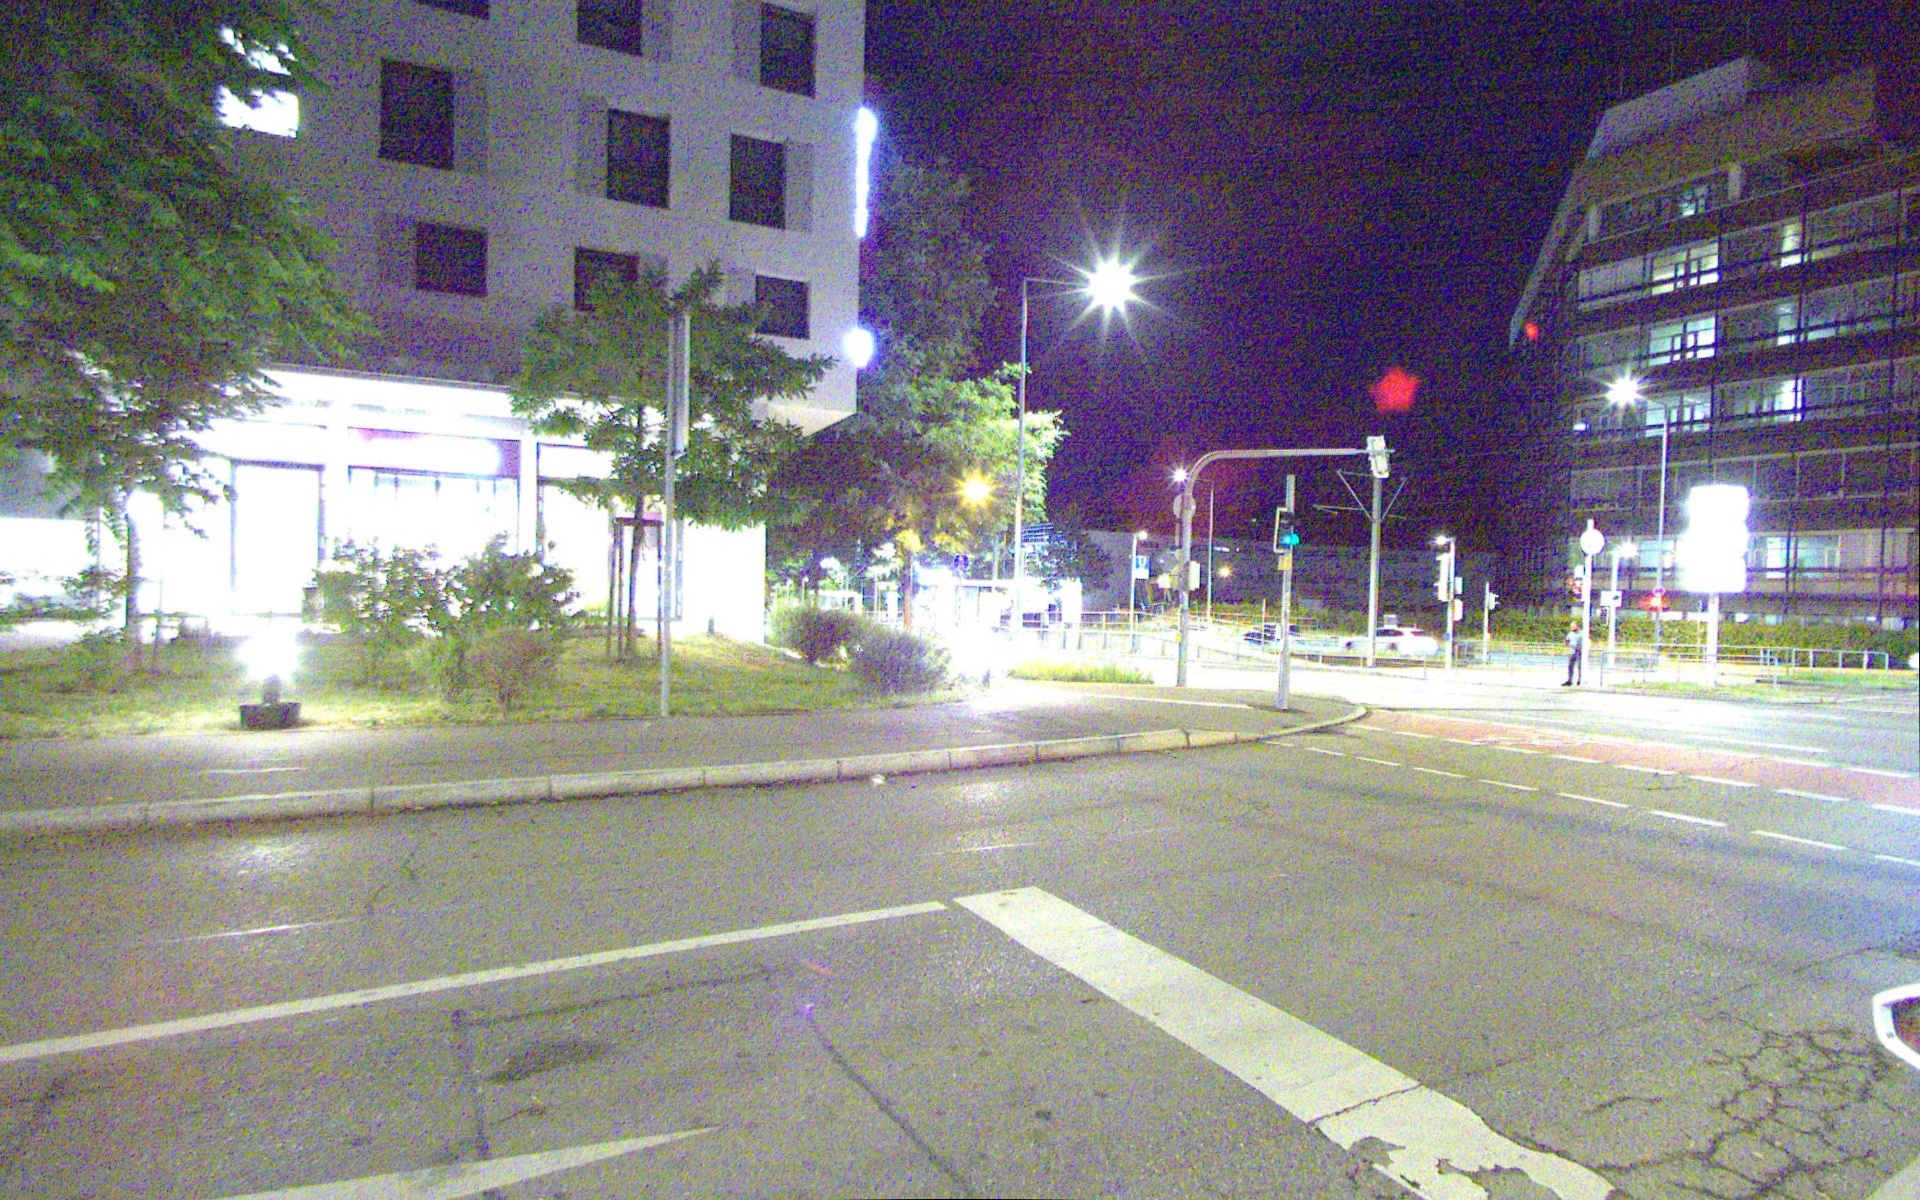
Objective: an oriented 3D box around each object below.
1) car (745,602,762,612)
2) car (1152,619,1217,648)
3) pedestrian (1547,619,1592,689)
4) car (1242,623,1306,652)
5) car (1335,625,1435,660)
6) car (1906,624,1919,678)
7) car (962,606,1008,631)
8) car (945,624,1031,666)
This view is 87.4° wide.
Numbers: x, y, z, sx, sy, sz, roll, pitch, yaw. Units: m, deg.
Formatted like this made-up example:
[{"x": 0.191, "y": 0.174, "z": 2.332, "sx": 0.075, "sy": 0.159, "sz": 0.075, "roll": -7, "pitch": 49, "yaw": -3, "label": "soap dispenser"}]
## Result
[{"x": -33.473, "y": 1.152, "z": 162.928, "sx": 1.845, "sy": 1.506, "sz": 3.822, "roll": 3, "pitch": 0, "yaw": -26, "label": "car"}, {"x": 13.496, "y": 1.992, "z": 60.579, "sx": 1.845, "sy": 1.506, "sz": 3.822, "roll": 3, "pitch": 0, "yaw": -26, "label": "car"}, {"x": 15.725, "y": 1.389, "z": 25.922, "sx": 0.692, "sy": 1.745, "sz": 0.679, "roll": 2, "pitch": 0, "yaw": 0, "label": "pedestrian"}, {"x": 19.450, "y": 2.306, "z": 62.410, "sx": 1.786, "sy": 1.653, "sz": 3.810, "roll": 1, "pitch": -1, "yaw": -23, "label": "car"}, {"x": 21.214, "y": 2.089, "z": 50.343, "sx": 1.755, "sy": 1.506, "sz": 4.559, "roll": 1, "pitch": 0, "yaw": -26, "label": "car"}, {"x": 31.543, "y": 1.660, "z": 30.004, "sx": 1.916, "sy": 1.665, "sz": 4.382, "roll": 3, "pitch": 0, "yaw": -26, "label": "car"}, {"x": 2.096, "y": 1.527, "z": 85.858, "sx": 1.845, "sy": 1.909, "sz": 4.926, "roll": 3, "pitch": 0, "yaw": -26, "label": "car"}, {"x": 1.037, "y": 1.706, "z": 39.368, "sx": 1.638, "sy": 1.493, "sz": 3.861, "roll": -2, "pitch": 0, "yaw": -28, "label": "car"}]
